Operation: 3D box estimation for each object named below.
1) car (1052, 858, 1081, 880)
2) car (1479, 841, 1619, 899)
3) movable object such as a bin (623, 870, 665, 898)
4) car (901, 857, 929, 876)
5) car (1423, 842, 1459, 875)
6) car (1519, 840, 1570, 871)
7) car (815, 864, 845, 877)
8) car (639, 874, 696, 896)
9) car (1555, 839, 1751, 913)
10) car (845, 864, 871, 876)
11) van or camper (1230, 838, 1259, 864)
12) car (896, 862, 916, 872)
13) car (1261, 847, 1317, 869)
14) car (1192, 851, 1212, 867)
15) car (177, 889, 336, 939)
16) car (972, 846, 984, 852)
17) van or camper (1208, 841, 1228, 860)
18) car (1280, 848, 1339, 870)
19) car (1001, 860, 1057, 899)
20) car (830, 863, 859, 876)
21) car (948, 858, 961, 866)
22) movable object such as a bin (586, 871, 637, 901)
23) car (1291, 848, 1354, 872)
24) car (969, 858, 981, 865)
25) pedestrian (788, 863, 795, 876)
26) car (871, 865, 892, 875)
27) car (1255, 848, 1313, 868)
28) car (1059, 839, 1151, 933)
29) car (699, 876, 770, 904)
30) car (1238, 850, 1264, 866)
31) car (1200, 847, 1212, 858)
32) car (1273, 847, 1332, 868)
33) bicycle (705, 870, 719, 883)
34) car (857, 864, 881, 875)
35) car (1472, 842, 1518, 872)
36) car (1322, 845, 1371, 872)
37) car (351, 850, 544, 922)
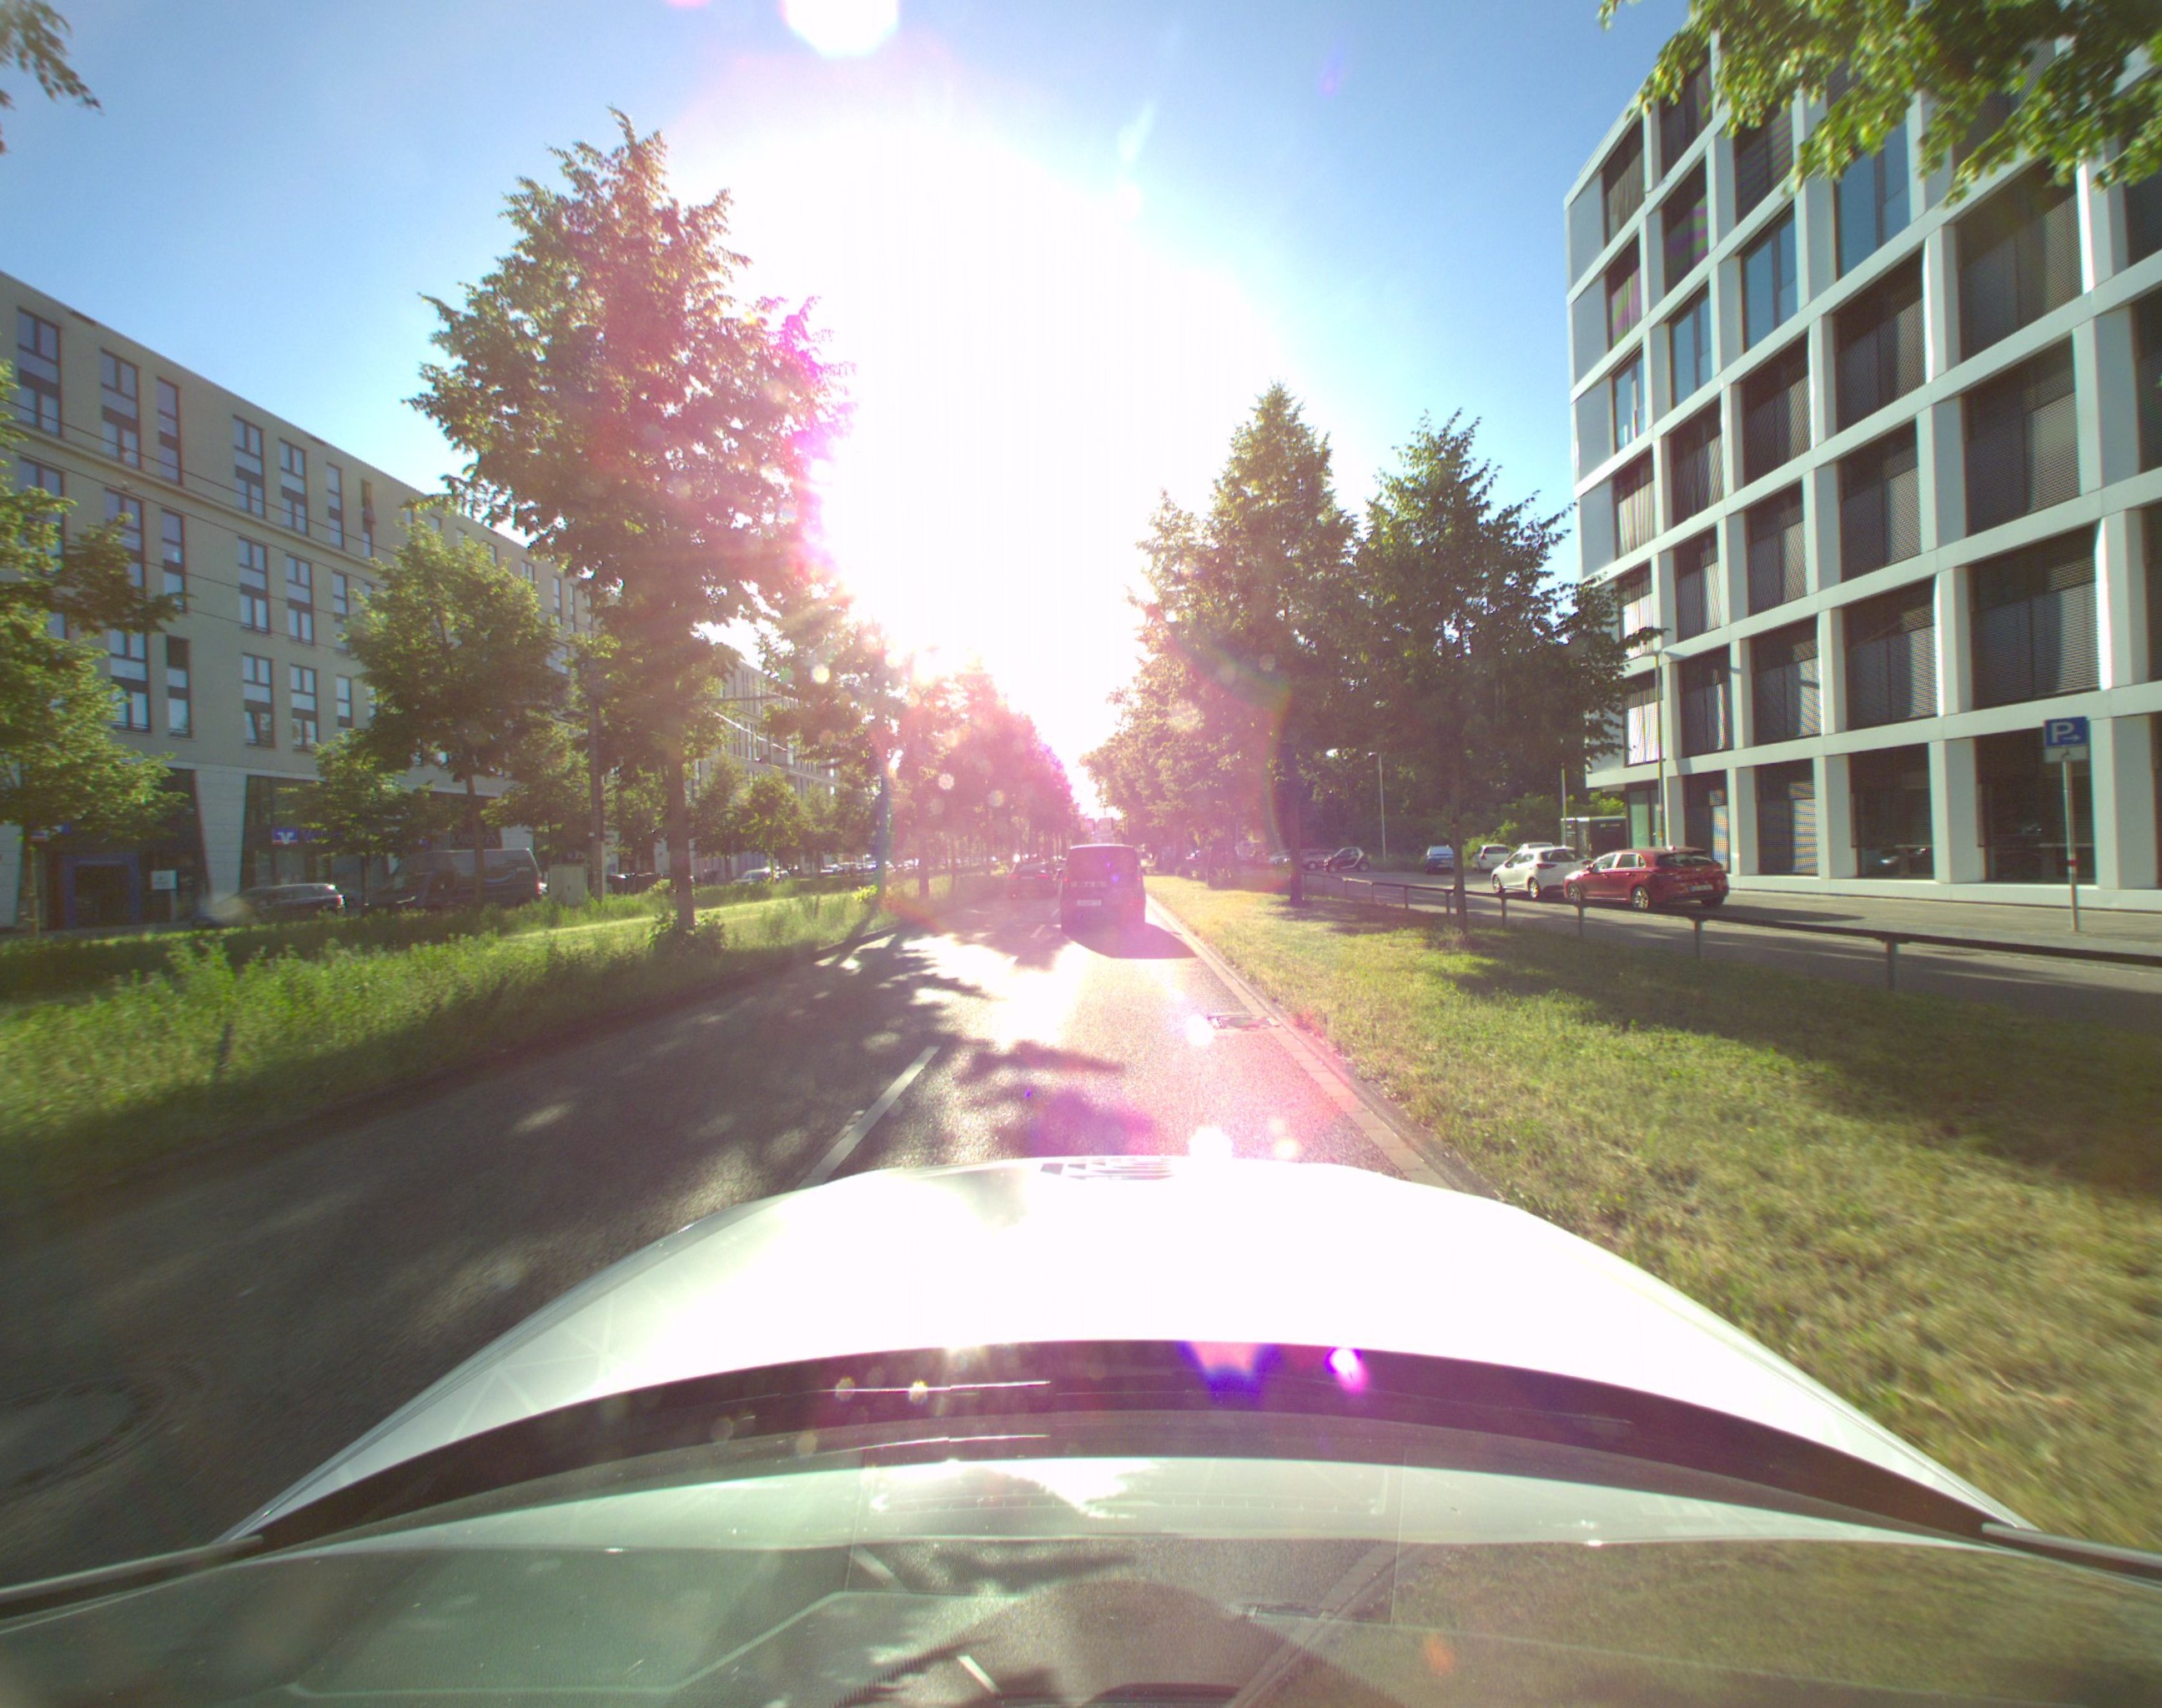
[{"bbox_3d":[-1.096,1.144,62.024,1.986,1.618,4.002,0,0,2],"label":"car"},{"bbox_3d":[14.301,0.459,25.226,1.984,1.486,4.407,-5,-1,4],"label":"car"},{"bbox_3d":[-29.322,2.011,54.728,1.964,1.794,1.556,0,-1,0],"label":"movable object such as a bin"},{"bbox_3d":[-18.187,1.361,89.211,1.984,2.014,4.005,0,-1,5],"label":"car"},{"bbox_3d":[19.628,0.212,44.496,1.579,1.545,3.840,-3,1,21],"label":"car"},{"bbox_3d":[24.333,0.080,42.883,1.703,1.540,3.971,0,-1,20],"label":"car"},{"bbox_3d":[-28.537,1.886,92.638,1.987,1.441,4.777,0,0,-1],"label":"car"},{"bbox_3d":[-29.477,2.177,58.205,1.987,1.441,4.018,0,0,-1],"label":"car"},{"bbox_3d":[13.913,0.505,20.172,1.858,1.486,4.275,-4,-1,2],"label":"car"},{"bbox_3d":[-28.228,1.988,103.179,1.987,1.441,4.454,0,0,-1],"label":"car"},{"bbox_3d":[18.028,-0.292,90.155,1.988,2.731,4.962,-4,0,-1],"label":"van or camper"},{"bbox_3d":[-27.202,1.982,126.761,1.950,1.441,4.267,0,0,2],"label":"car"},{"bbox_3d":[17.964,0.322,70.568,4.361,1.411,2.002,-6,0,4],"label":"car"},{"bbox_3d":[12.754,0.527,85.714,1.982,1.640,4.009,0,0,8],"label":"car"},{"bbox_3d":[-30.114,2.143,29.967,1.554,1.480,4.268,-1,0,-1],"label":"car"},{"bbox_3d":[-22.977,-1.168,182.087,1.905,1.325,4.614,0,0,3],"label":"car"},{"bbox_3d":[20.998,-0.532,125.480,2.543,2.684,6.577,-4,0,7],"label":"van or camper"},{"bbox_3d":[18.070,0.373,64.474,4.179,1.498,1.781,-3,0,-1],"label":"car"},{"bbox_3d":[-1.966,0.950,31.774,1.785,1.428,4.002,0,0,2],"label":"car"},{"bbox_3d":[-28.323,1.870,97.586,1.986,1.441,4.457,0,0,2],"label":"car"},{"bbox_3d":[-26.750,1.729,171.964,1.871,1.621,4.614,0,0,3],"label":"car"},{"bbox_3d":[-29.292,1.981,50.867,1.964,1.794,2.010,0,-1,-1],"label":"movable object such as a bin"},{"bbox_3d":[17.478,0.423,59.036,4.063,1.468,1.716,-3,-1,2],"label":"car"},{"bbox_3d":[-25.228,1.810,194.084,1.985,1.608,4.614,0,0,3],"label":"car"},{"bbox_3d":[-38.145,2.069,107.363,0.635,1.651,0.719,0,-1,-6],"label":"pedestrian"},{"bbox_3d":[-28.250,2.256,115.348,1.987,1.441,4.454,0,0,-1],"label":"car"},{"bbox_3d":[18.255,0.362,73.476,4.702,1.406,2.001,-5,0,2],"label":"car"},{"bbox_3d":[0.444,0.645,18.077,1.803,1.838,3.998,0,-1,-1],"label":"car"},{"bbox_3d":[-19.565,1.996,46.199,1.986,1.441,4.457,0,0,1],"label":"car"},{"bbox_3d":[17.553,0.400,84.277,1.986,1.574,4.001,0,0,1],"label":"car"},{"bbox_3d":[22.630,-0.296,147.461,2.076,2.013,4.952,-1,0,7],"label":"car"},{"bbox_3d":[18.386,0.277,67.631,4.317,1.477,1.905,-4,1,-2],"label":"car"},{"bbox_3d":[-36.010,2.186,79.429,0.596,1.281,1.608,0,-1,0],"label":"bicycle"},{"bbox_3d":[-28.365,2.034,108.989,1.987,1.441,4.935,0,0,0],"label":"car"},{"bbox_3d":[22.230,0.180,43.841,1.732,1.536,3.901,0,-1,20],"label":"car"},{"bbox_3d":[16.732,0.296,51.460,2.748,1.550,1.466,-3,-1,11],"label":"car"},{"bbox_3d":[-23.084,1.083,30.126,2.499,2.381,6.024,0,0,-2],"label":"car"}]
